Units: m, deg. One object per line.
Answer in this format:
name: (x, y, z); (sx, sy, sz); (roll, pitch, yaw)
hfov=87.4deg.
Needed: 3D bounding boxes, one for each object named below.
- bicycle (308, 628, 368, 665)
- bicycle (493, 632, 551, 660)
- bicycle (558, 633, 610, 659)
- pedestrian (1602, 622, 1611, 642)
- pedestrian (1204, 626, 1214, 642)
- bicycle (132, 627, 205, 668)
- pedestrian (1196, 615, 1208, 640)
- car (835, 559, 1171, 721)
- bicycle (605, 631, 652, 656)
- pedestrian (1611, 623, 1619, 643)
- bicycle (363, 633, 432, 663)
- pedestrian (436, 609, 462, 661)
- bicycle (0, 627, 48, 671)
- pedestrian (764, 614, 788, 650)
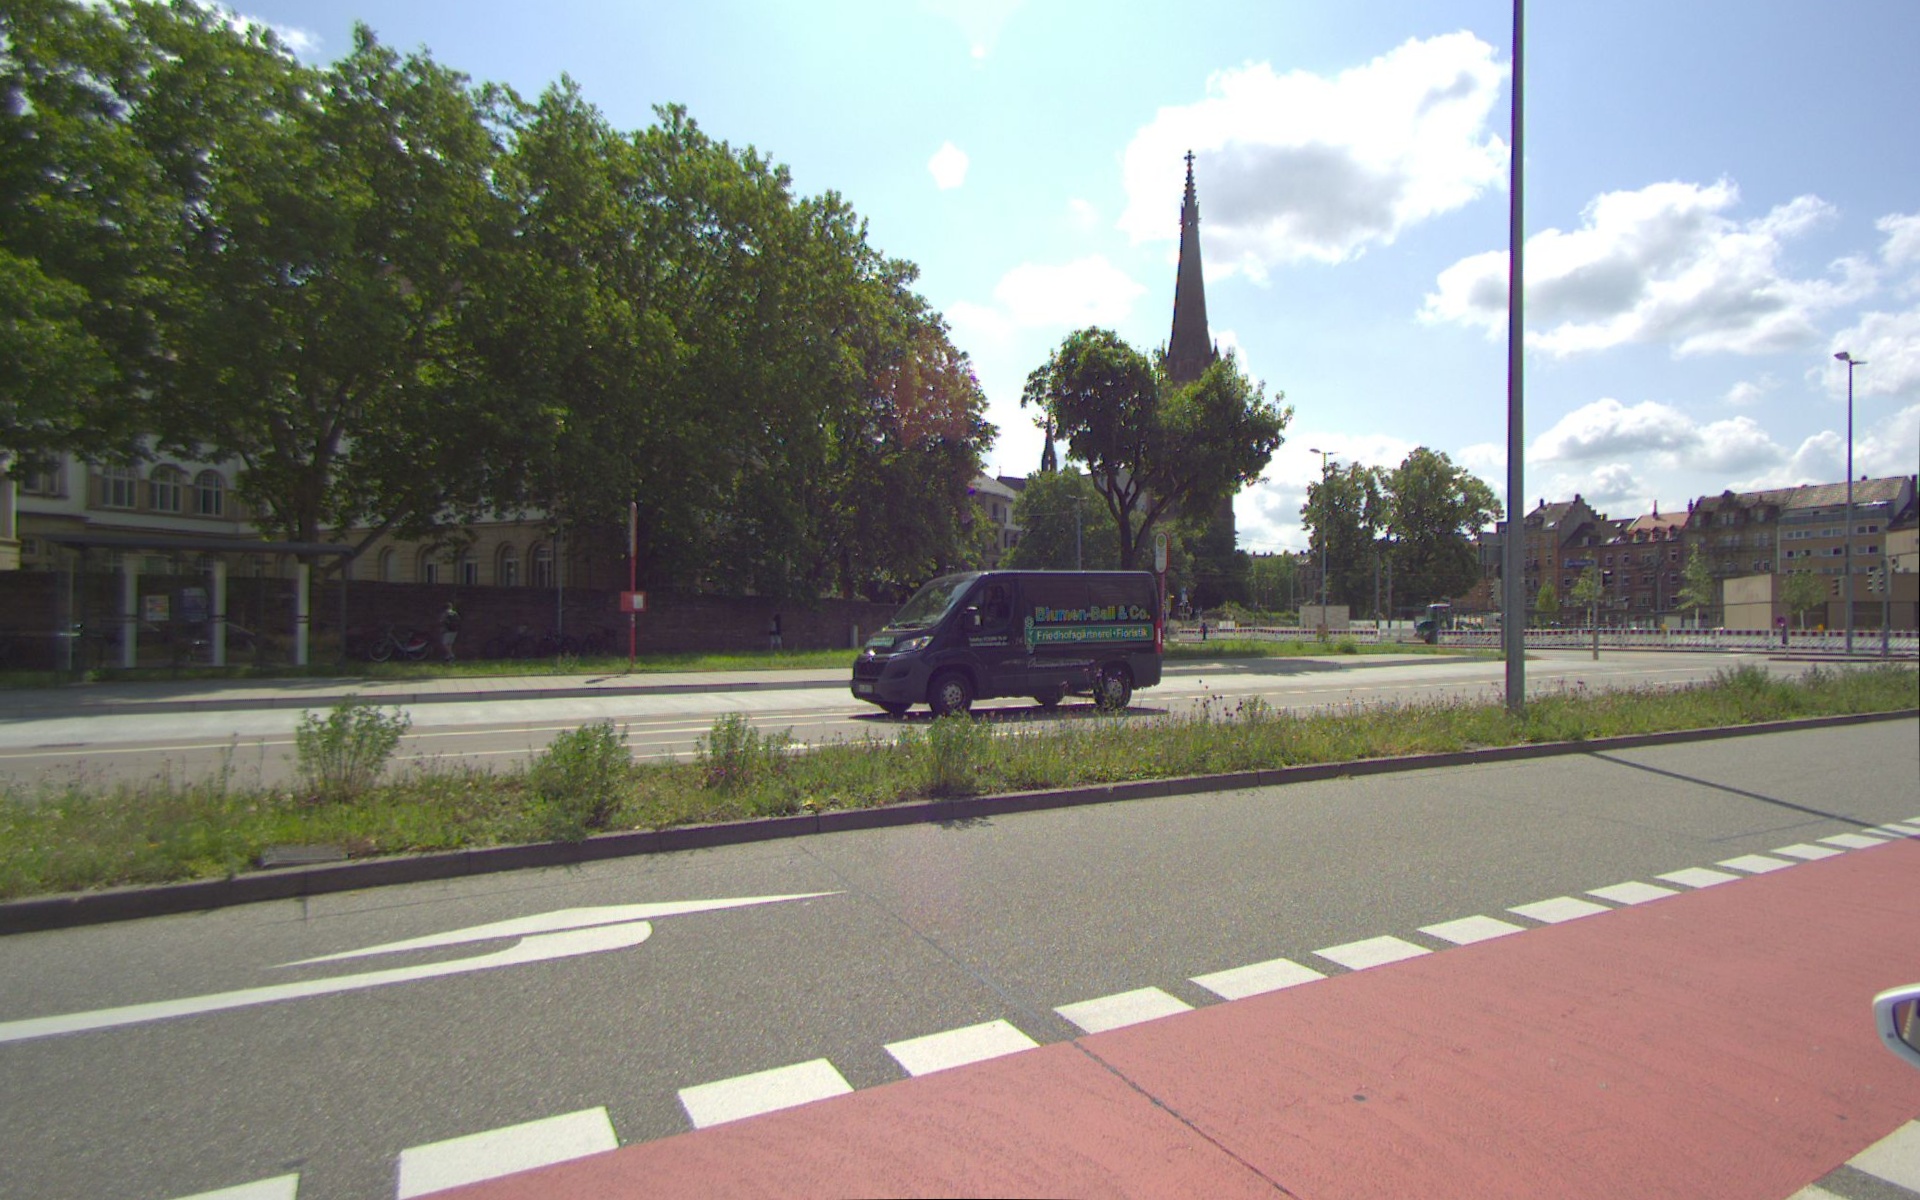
bicycle: (-17.154, 1.266, 27.728); (0.260, 0.977, 1.391); (0, -1, 36)
bicycle: (-14.019, 1.463, 32.202); (0.378, 0.828, 1.743); (0, -1, 36)
bicycle: (-12.773, 1.552, 34.166); (0.324, 0.828, 1.743); (0, -1, 36)
pedestrian: (54.849, 2.751, 85.201); (0.409, 1.674, 0.425); (2, 0, 4)
pedestrian: (26.284, 3.548, 105.974); (0.842, 1.685, 0.751); (0, -1, 29)
bicycle: (-19.412, 1.158, 24.658); (0.260, 0.977, 1.391); (0, -1, 36)
pedestrian: (19.384, 2.190, 80.476); (0.625, 2.040, 0.643); (1, -1, -32)
car: (0.731, 0.624, 15.900); (4.960, 2.204, 2.138); (1, -3, -30)
bicycle: (-11.768, 1.538, 35.692); (0.324, 0.828, 1.743); (0, -1, 36)
pedestrian: (54.742, 2.742, 83.936); (0.409, 1.674, 0.425); (2, 0, 4)
bicycle: (-16.234, 1.380, 29.025); (0.324, 0.828, 1.743); (0, -1, 36)
pedestrian: (-14.964, 1.009, 29.387); (0.627, 1.492, 0.506); (1, -1, -32)
bicycle: (-21.252, 1.090, 22.337); (0.260, 0.977, 1.391); (0, -1, 36)
pedestrian: (-7.304, 1.281, 39.923); (0.720, 1.413, 0.714); (1, -1, -35)
